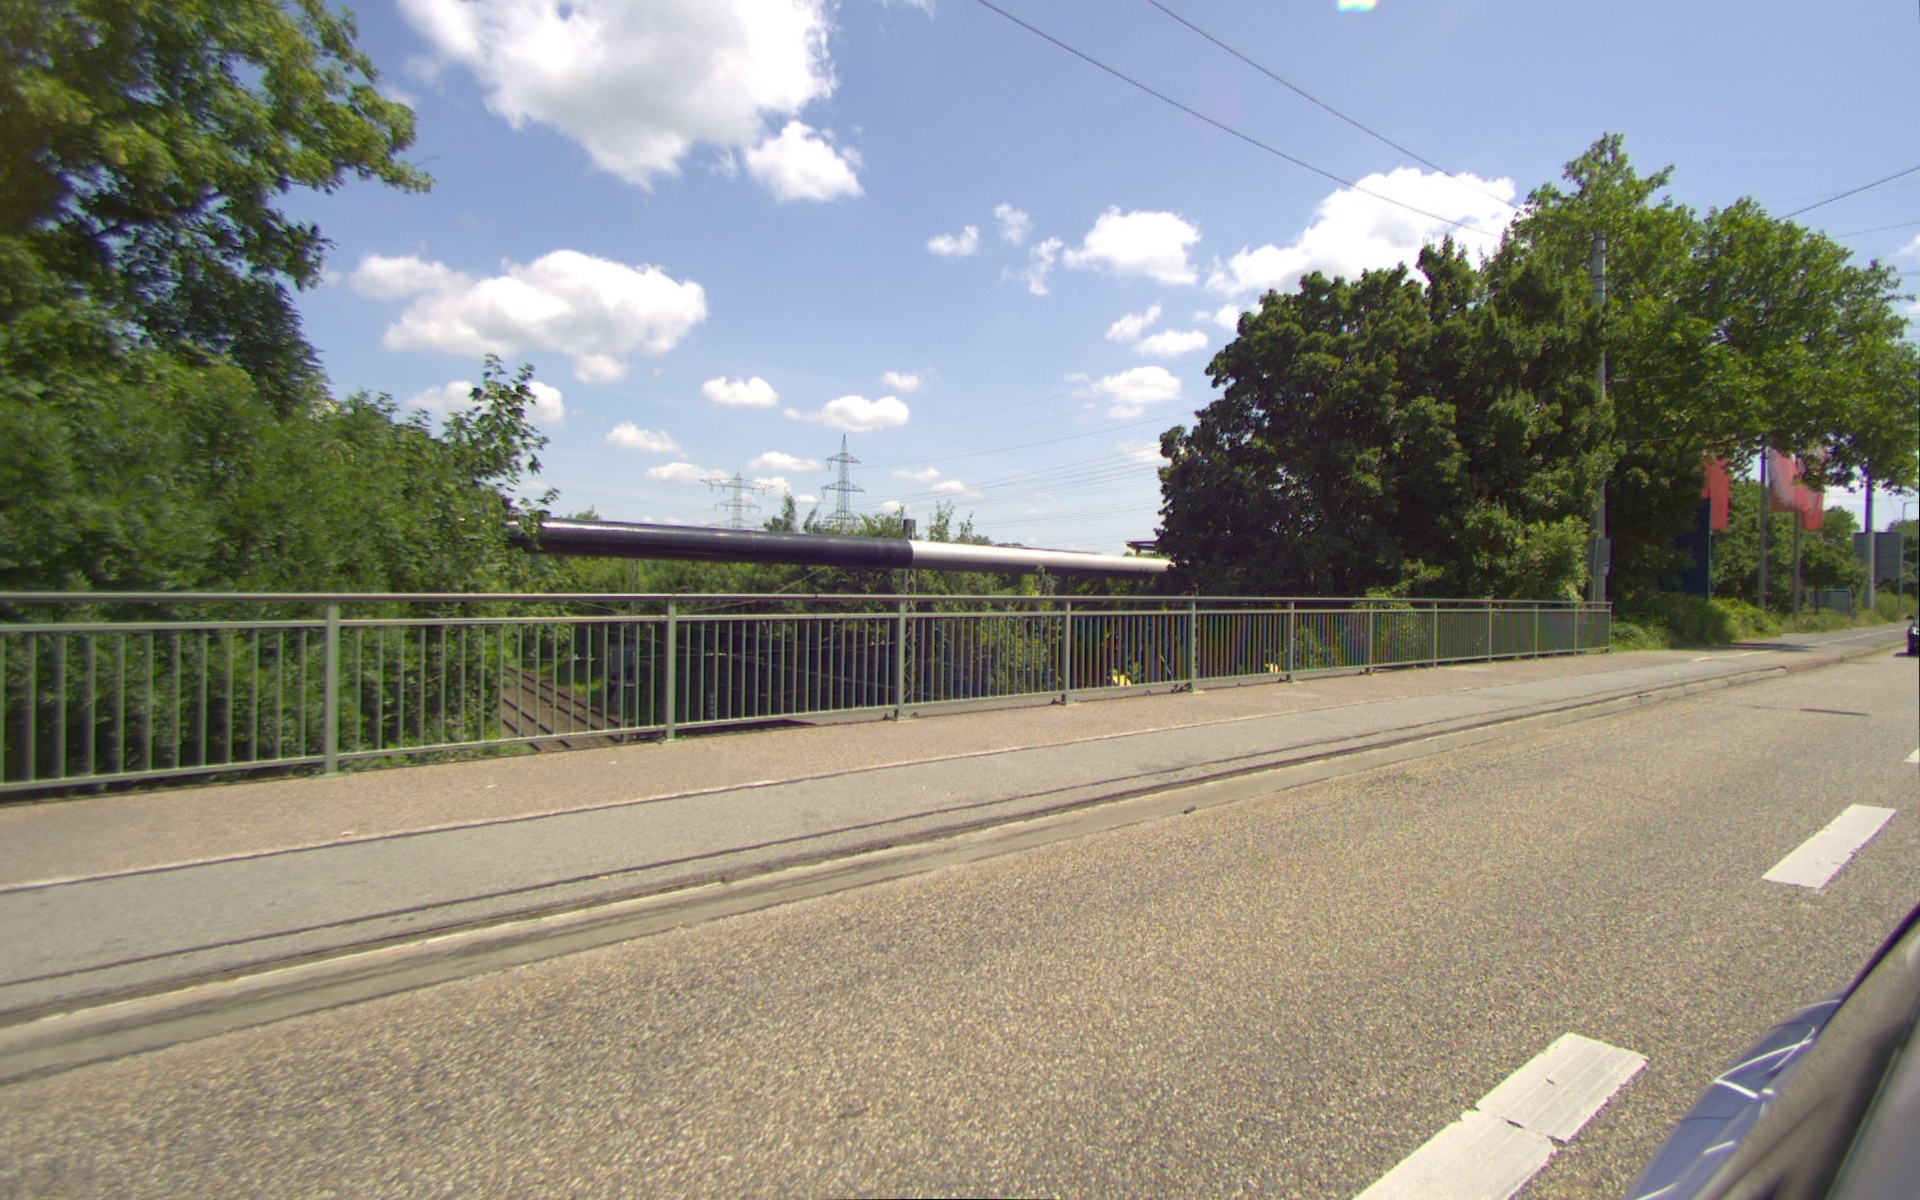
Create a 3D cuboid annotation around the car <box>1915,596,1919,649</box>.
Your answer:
[{"bbox_3d":[27.942,0.610,28.075,3.931,1.449,1.769,0,0,-42],"label":"car"}]
